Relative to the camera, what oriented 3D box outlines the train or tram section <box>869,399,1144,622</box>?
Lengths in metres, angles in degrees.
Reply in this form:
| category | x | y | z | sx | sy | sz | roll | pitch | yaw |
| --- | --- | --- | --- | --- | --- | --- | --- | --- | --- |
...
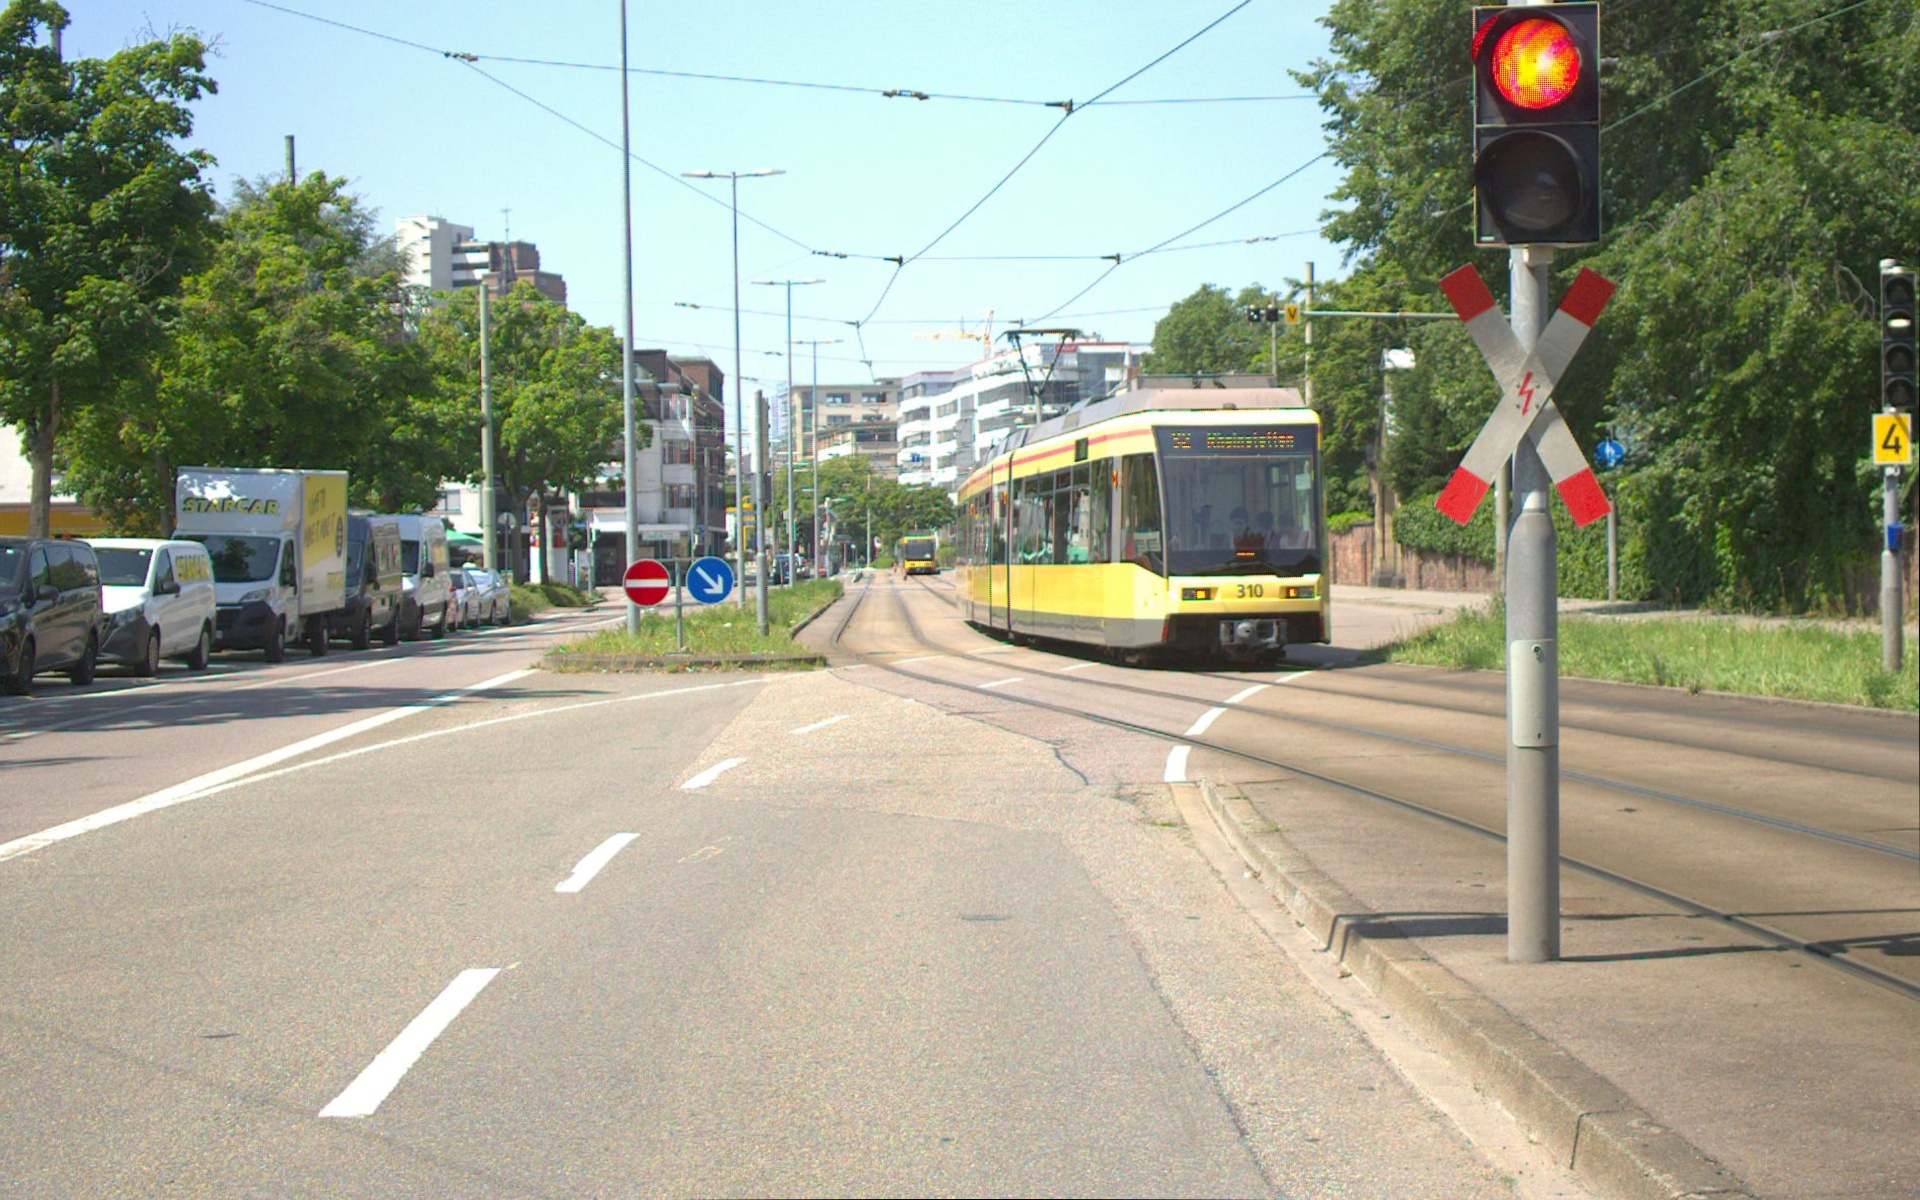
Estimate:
| category | x | y | z | sx | sy | sz | roll | pitch | yaw |
| --- | --- | --- | --- | --- | --- | --- | --- | --- | --- |
| train or tram section | 0.509 | -1.690 | 66.905 | 2.943 | 3.679 | 20.288 | 0 | 1 | -6 |

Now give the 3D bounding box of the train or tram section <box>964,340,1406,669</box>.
| category | x | y | z | sx | sy | sz | roll | pitch | yaw |
| --- | --- | --- | --- | --- | --- | --- | --- | --- | --- |
| train or tram section | 2.538 | -1.257 | 47.683 | 2.943 | 3.679 | 18.393 | 0 | 1 | -6 |

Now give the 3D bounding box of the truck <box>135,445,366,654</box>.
| category | x | y | z | sx | sy | sz | roll | pitch | yaw |
| --- | --- | --- | --- | --- | --- | --- | --- | --- | --- |
| truck | -11.753 | -0.864 | 57.504 | 2.157 | 3.199 | 7.082 | 2 | 1 | 1 |

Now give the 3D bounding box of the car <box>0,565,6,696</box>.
| category | x | y | z | sx | sy | sz | roll | pitch | yaw |
| --- | --- | --- | --- | --- | --- | --- | --- | --- | --- |
| car | -11.437 | 0.386 | 35.699 | 1.868 | 1.432 | 4.343 | -1 | 1 | -1 |

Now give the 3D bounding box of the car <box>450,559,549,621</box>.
| category | x | y | z | sx | sy | sz | roll | pitch | yaw |
| --- | --- | --- | --- | --- | --- | --- | --- | --- | --- |
| car | -12.537 | -0.298 | 93.774 | 2.061 | 1.576 | 4.871 | -1 | 1 | -1 |

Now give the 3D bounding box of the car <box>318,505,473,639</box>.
| category | x | y | z | sx | sy | sz | roll | pitch | yaw |
| --- | --- | --- | --- | --- | --- | --- | --- | --- | --- |
| car | -11.880 | -0.622 | 72.692 | 2.157 | 2.630 | 5.611 | 2 | 1 | 1 |

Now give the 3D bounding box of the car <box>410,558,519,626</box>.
| category | x | y | z | sx | sy | sz | roll | pitch | yaw |
| --- | --- | --- | --- | --- | --- | --- | --- | --- | --- |
| car | -12.460 | -0.228 | 86.672 | 2.061 | 1.576 | 4.871 | -1 | 1 | -1 |

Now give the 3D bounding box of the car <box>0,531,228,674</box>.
| category | x | y | z | sx | sy | sz | roll | pitch | yaw |
| --- | --- | --- | --- | --- | --- | --- | --- | --- | --- |
| car | -11.975 | -0.007 | 48.939 | 2.061 | 1.891 | 4.871 | -1 | 1 | -1 |

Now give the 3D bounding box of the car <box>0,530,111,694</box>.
| category | x | y | z | sx | sy | sz | roll | pitch | yaw |
| --- | --- | --- | --- | --- | --- | --- | --- | --- | --- |
| car | -11.830 | 0.118 | 41.982 | 1.868 | 1.888 | 4.271 | -1 | 1 | -1 |

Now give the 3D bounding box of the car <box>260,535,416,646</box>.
| category | x | y | z | sx | sy | sz | roll | pitch | yaw |
| --- | --- | --- | --- | --- | --- | --- | --- | --- | --- |
| car | -11.693 | -0.217 | 64.908 | 2.061 | 1.970 | 4.871 | -1 | 1 | -1 |
